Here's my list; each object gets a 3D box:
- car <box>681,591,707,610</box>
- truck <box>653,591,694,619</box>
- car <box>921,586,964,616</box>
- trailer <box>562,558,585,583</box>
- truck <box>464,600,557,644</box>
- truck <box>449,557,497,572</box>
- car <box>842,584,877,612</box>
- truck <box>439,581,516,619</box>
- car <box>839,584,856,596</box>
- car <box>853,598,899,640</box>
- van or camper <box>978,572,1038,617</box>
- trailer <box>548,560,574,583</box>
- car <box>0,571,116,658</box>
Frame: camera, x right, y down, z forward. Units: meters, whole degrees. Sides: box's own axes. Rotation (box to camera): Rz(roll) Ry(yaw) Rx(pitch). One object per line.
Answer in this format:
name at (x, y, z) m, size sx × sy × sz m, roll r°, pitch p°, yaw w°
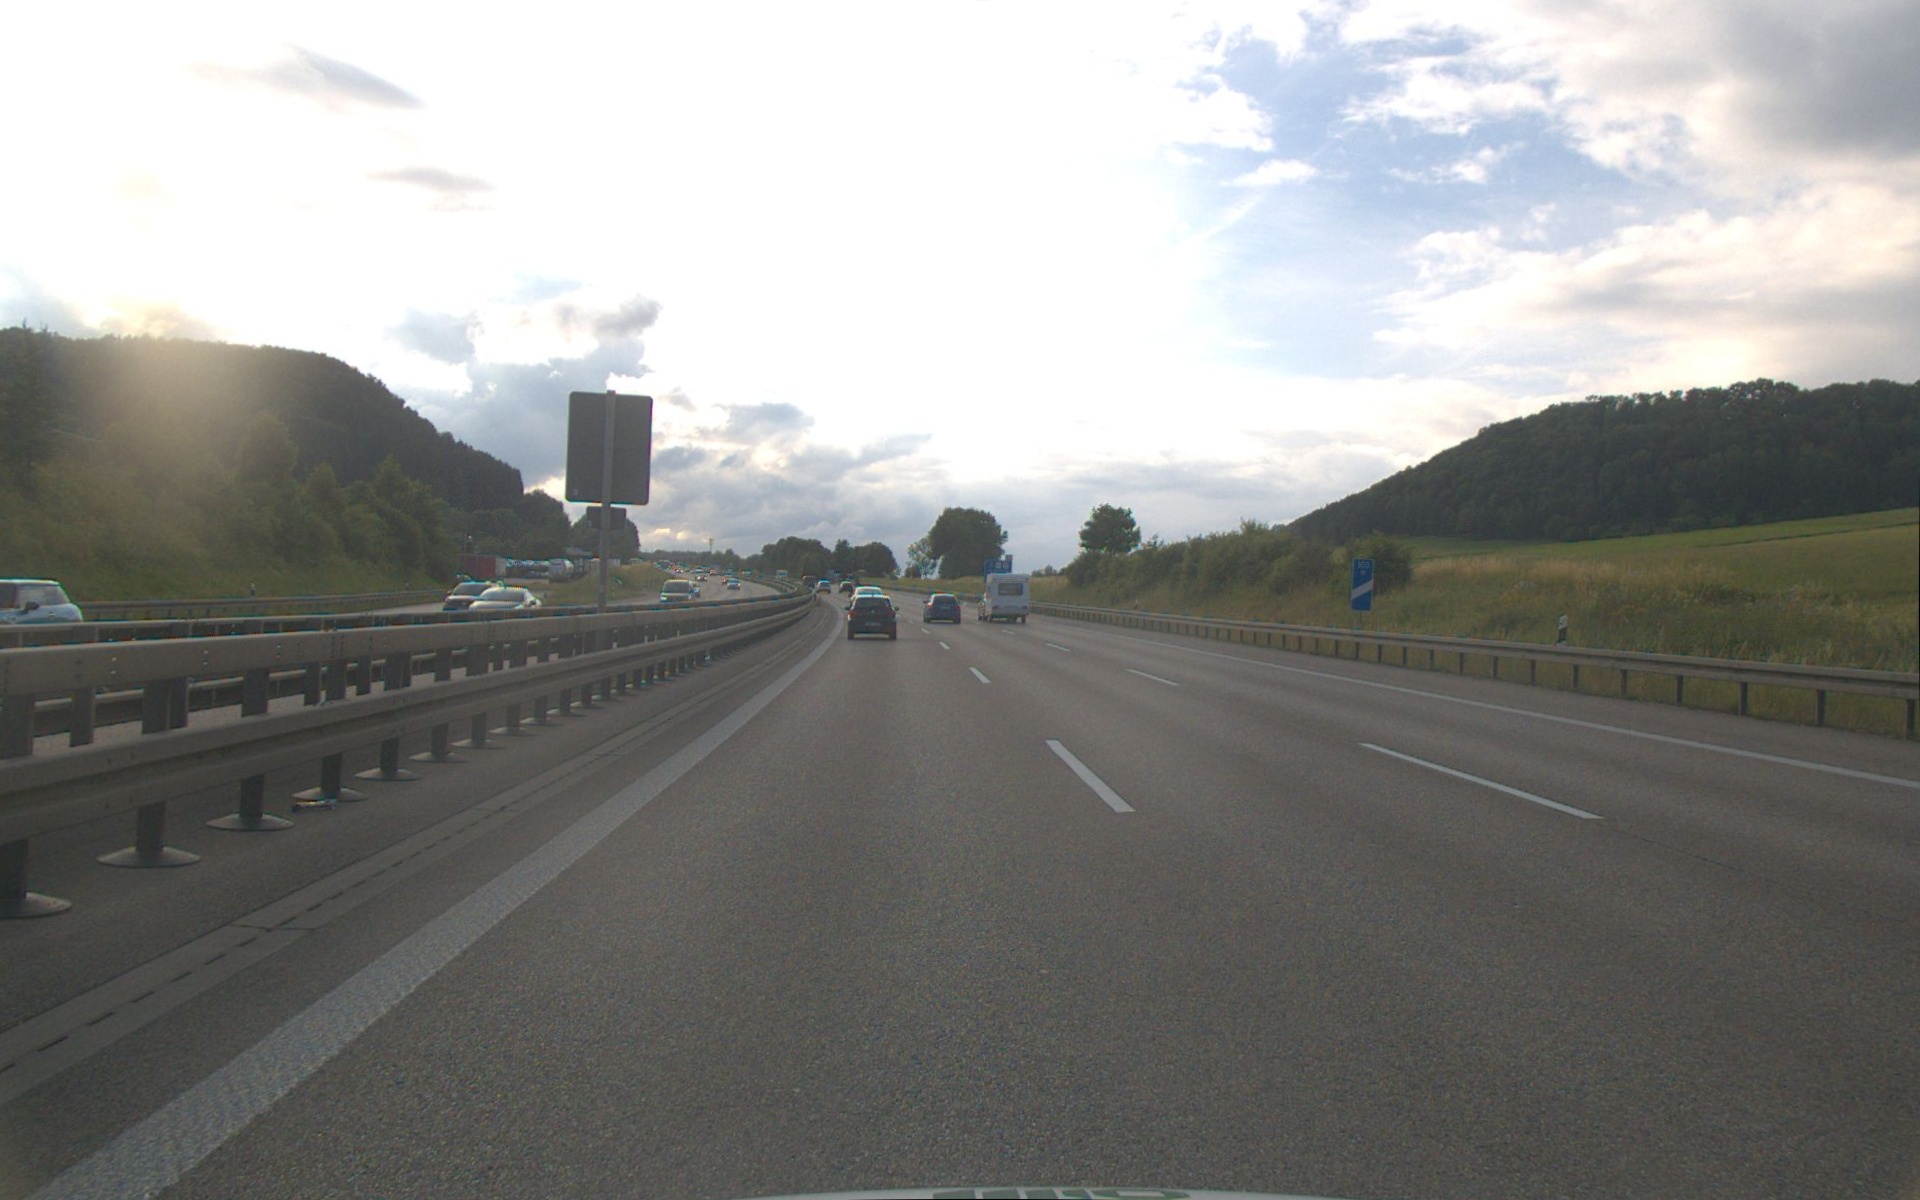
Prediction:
car at (-26.687, 0.059, 166.103) m, size 1.953 × 1.512 × 3.998 m, roll -1°, pitch -4°, yaw -1°
truck at (-16.897, 0.270, 97.769) m, size 1.955 × 1.622 × 4.841 m, roll -1°, pitch 0°, yaw -5°
car at (-0.906, 0.046, 83.483) m, size 1.733 × 1.458 × 3.994 m, roll 0°, pitch 0°, yaw -6°
trailer at (-59.965, -4.574, 256.766) m, size 2.825 × 3.761 × 13.643 m, roll 0°, pitch 0°, yaw -10°
truck at (-13.619, 0.639, 50.307) m, size 1.954 × 1.243 × 3.997 m, roll -1°, pitch 0°, yaw -4°
truck at (-72.385, -5.312, 245.866) m, size 7.157 × 2.049 × 2.891 m, roll -1°, pitch 0°, yaw 34°
car at (-5.217, -0.124, 85.545) m, size 1.536 × 1.404 × 3.993 m, roll 0°, pitch 0°, yaw -8°
truck at (-18.405, -0.014, 63.230) m, size 1.954 × 1.377 × 3.944 m, roll 0°, pitch 0°, yaw -3°
car at (-15.230, -1.344, 224.011) m, size 1.917 × 1.601 × 4.000 m, roll 1°, pitch -1°, yaw 2°
car at (-2.842, 0.628, 55.712) m, size 1.507 × 1.371 × 3.674 m, roll 1°, pitch 0°, yaw -3°
van or camper at (2.513, -0.263, 87.387) m, size 2.498 × 2.278 × 5.322 m, roll 1°, pitch 0°, yaw -6°
trailer at (-56.084, -3.929, 232.761) m, size 2.531 × 2.903 × 12.235 m, roll 1°, pitch -1°, yaw -9°
car at (-16.304, 0.221, 28.020) m, size 1.954 × 1.377 × 4.353 m, roll 0°, pitch 0°, yaw -3°
